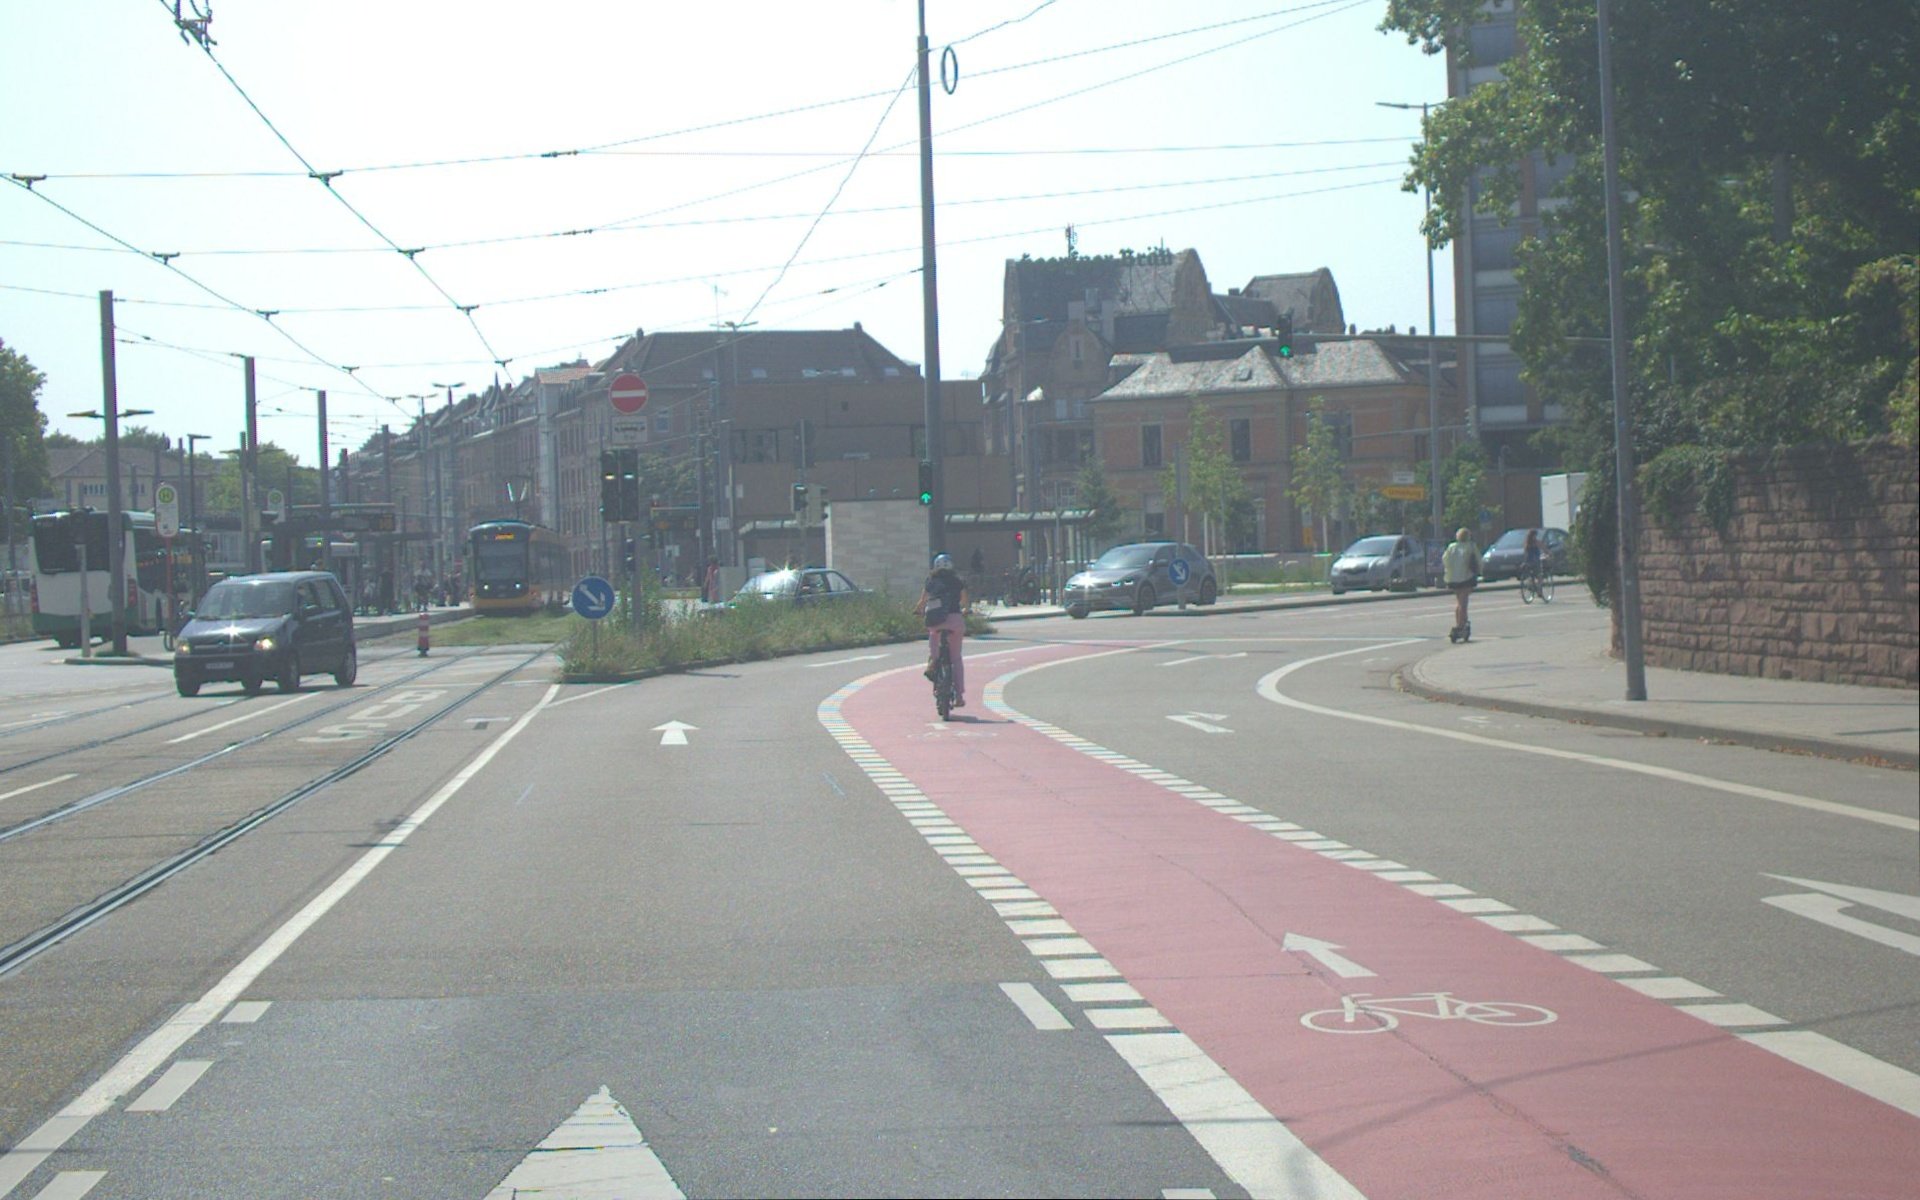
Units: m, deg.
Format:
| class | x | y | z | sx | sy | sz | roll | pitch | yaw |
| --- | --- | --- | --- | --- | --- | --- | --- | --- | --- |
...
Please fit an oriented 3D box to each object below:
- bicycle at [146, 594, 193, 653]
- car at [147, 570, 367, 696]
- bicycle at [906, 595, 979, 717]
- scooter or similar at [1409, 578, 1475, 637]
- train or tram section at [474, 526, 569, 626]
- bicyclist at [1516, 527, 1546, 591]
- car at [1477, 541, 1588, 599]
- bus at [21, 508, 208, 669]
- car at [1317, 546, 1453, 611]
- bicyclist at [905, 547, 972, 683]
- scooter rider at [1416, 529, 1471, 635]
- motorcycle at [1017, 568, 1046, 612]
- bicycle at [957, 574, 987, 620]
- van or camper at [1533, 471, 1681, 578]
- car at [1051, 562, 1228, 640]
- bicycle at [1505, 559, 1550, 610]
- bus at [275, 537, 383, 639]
| class | x | y | z | sx | sy | sz | roll | pitch | yaw |
| --- | --- | --- | --- | --- | --- | --- | --- | --- | --- |
| bicycle | -17.018 | 0.498 | 74.020 | 0.607 | 1.218 | 1.705 | -2 | 0 | -1 |
| car | -9.714 | 0.428 | 47.743 | 1.692 | 1.649 | 3.579 | -1 | 0 | 11 |
| bicycle | -0.185 | 0.541 | 34.426 | 0.604 | 1.159 | 1.811 | -2 | 0 | -3 |
| scooter or similar | 8.116 | 0.120 | 57.823 | 0.773 | 0.923 | 1.619 | -1 | 1 | 20 |
| train or tram section | -16.715 | -0.893 | 132.009 | 2.856 | 3.536 | 17.745 | -1 | 0 | -5 |
| bicyclist | 12.977 | -0.936 | 78.145 | 0.450 | 1.416 | 0.495 | -2 | 0 | 32 |
| car | 16.420 | -0.861 | 98.509 | 1.699 | 1.525 | 4.176 | -2 | 0 | 31 |
| bus | -21.249 | -0.292 | 86.979 | 2.957 | 3.762 | 10.598 | -1 | 0 | -5 |
| car | 11.024 | -0.567 | 89.056 | 1.654 | 1.525 | 4.317 | -2 | 1 | 34 |
| bicyclist | -0.216 | 0.143 | 34.412 | 0.602 | 1.331 | 0.660 | -2 | 0 | -3 |
| scooter rider | 8.157 | -0.305 | 57.960 | 0.763 | 1.769 | 0.554 | -2 | 0 | 20 |
| motorcycle | 2.061 | -0.294 | 99.243 | 0.604 | 1.206 | 2.253 | -2 | 1 | 6 |
| bicycle | 0.326 | -0.085 | 93.473 | 0.604 | 1.206 | 1.810 | -2 | 0 | 6 |
| van or camper | 20.986 | -2.458 | 111.231 | 2.404 | 3.295 | 7.179 | -2 | 0 | 30 |
| car | 4.112 | 0.012 | 78.157 | 1.775 | 1.605 | 4.664 | -2 | 1 | 35 |
| bicycle | 12.878 | -0.351 | 77.951 | 0.445 | 1.113 | 1.443 | -2 | 0 | 32 |
| bus | -24.222 | -0.458 | 132.416 | 2.709 | 3.714 | 10.420 | -1 | 0 | -3 |
